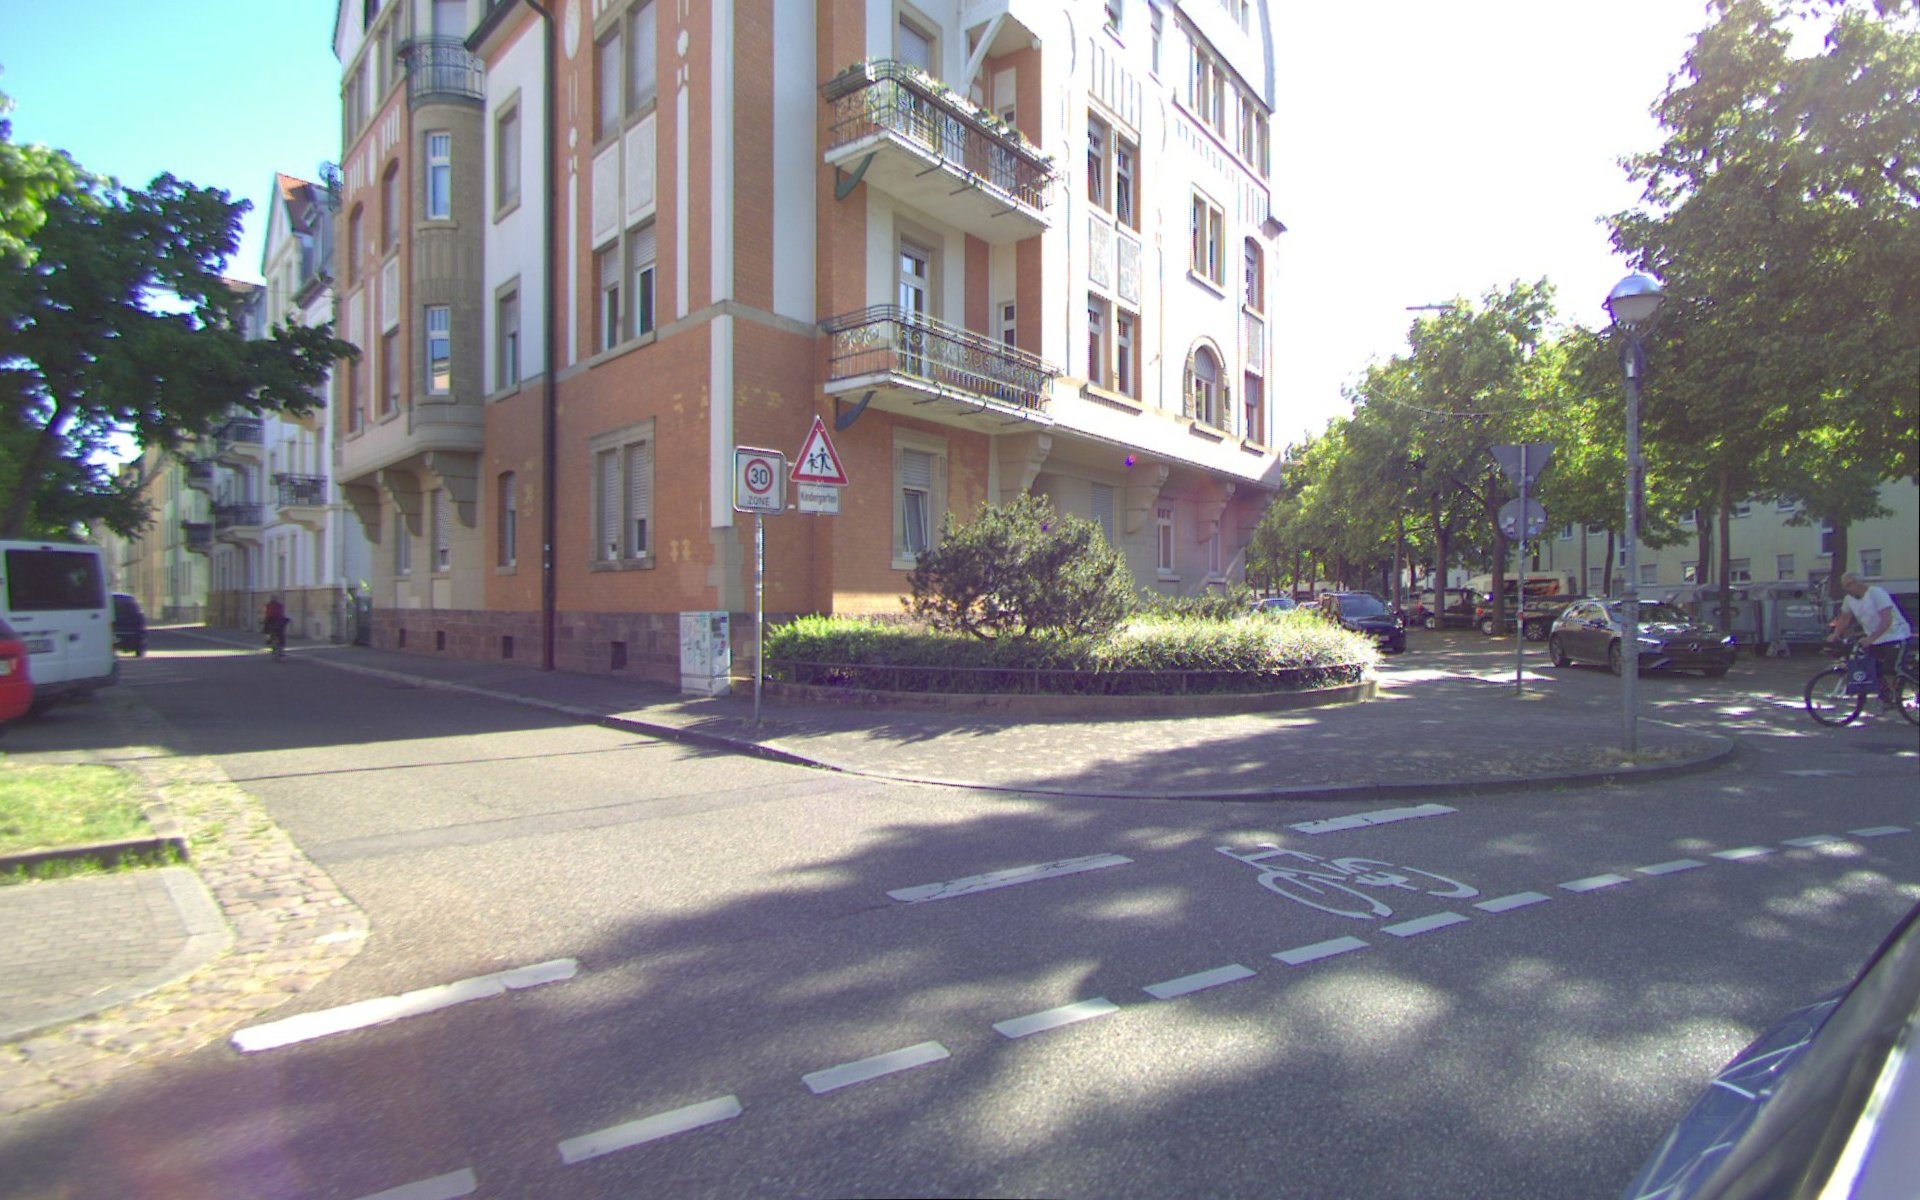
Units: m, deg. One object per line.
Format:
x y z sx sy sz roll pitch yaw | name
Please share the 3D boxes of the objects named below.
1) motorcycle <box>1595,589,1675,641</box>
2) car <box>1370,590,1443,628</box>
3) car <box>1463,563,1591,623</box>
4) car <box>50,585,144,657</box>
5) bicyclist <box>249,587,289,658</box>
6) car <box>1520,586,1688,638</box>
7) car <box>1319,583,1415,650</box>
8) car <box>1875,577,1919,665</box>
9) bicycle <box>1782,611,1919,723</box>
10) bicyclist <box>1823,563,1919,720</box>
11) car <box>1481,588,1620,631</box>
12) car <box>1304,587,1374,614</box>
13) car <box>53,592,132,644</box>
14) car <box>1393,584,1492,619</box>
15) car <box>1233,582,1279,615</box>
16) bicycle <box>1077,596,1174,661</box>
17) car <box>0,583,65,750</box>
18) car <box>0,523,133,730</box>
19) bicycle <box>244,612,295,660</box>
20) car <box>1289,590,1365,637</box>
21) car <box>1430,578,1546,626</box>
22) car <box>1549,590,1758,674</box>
18.324 0.402 27.474 1.763 1.365 0.729 0 -1 -8 | motorcycle
18.222 0.347 41.474 1.769 1.453 4.195 -1 0 11 | car
24.944 -0.301 44.608 4.578 2.522 1.956 0 0 43 | car
-22.140 0.490 25.983 1.731 1.678 3.949 0 0 -41 | car
-16.840 0.537 24.664 0.648 1.682 0.687 -1 -1 45 | bicyclist
19.542 0.337 30.812 1.792 1.459 3.992 0 0 -42 | car
11.967 0.462 30.025 1.769 1.789 4.195 -2 -1 10 | car
17.953 0.362 16.744 1.728 1.492 3.994 0 0 -40 | car
10.579 0.736 11.464 1.835 1.213 0.764 -1 -1 3 | bicycle
10.514 0.455 11.461 0.797 1.718 0.764 -1 -1 2 | bicyclist
21.284 0.316 36.563 1.792 1.471 3.992 0 0 -42 | car
24.424 0.023 65.297 3.972 1.708 1.801 0 0 34 | car
-26.331 0.504 30.730 1.731 1.474 3.949 0 0 -41 | car
23.509 0.074 49.365 1.792 1.654 3.992 0 0 -42 | car
15.270 -0.072 52.325 1.769 1.576 4.195 -2 -1 10 | car
3.245 0.539 19.890 1.787 1.227 0.588 1 0 33 | bicycle
-10.101 0.573 8.423 3.619 1.453 1.672 0 0 -11 | car
-12.021 0.257 10.777 4.609 2.071 1.997 0 0 -9 | car
-16.823 0.858 24.648 0.687 1.122 1.867 1 -1 -45 | bicycle
12.882 0.459 35.777 1.769 1.472 4.195 -2 -1 10 | car
22.216 0.070 42.657 1.792 1.922 3.992 0 0 -42 | car
13.319 0.570 19.772 1.770 1.453 4.195 -1 0 11 | car
